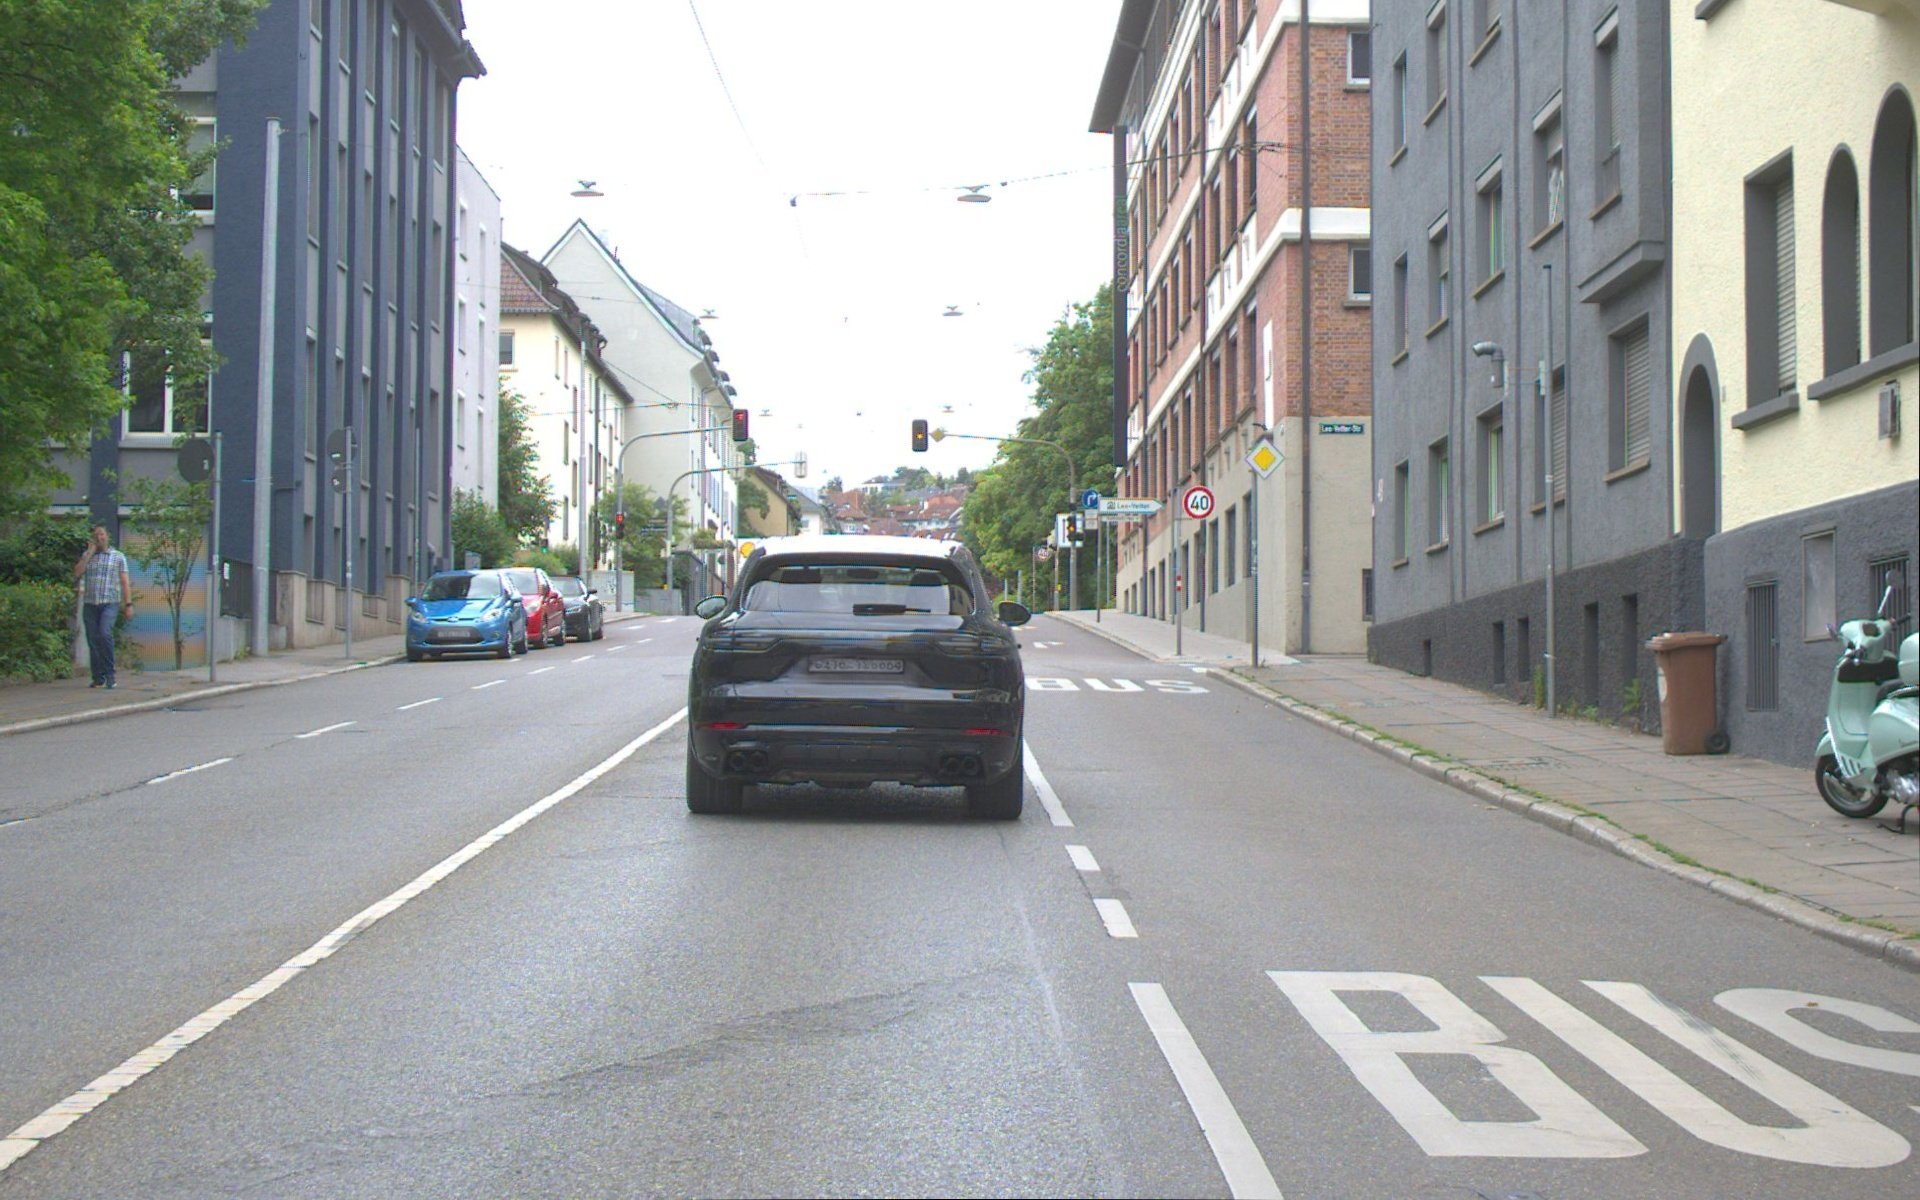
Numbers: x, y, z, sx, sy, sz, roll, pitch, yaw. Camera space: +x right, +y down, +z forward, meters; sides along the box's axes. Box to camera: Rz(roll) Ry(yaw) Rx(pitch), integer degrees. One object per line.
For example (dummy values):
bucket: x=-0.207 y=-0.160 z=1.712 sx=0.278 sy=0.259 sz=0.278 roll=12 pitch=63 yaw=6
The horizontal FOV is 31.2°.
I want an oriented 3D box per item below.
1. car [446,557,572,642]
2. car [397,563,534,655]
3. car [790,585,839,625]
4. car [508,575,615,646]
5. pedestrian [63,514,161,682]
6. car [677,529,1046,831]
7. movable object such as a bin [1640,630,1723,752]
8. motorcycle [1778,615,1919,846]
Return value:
car: x=-8.238 y=-0.030 z=63.064 sx=1.714 sy=1.451 sz=3.989 roll=-2 pitch=0 yaw=1
car: x=-8.189 y=0.124 z=57.187 sx=1.714 sy=1.419 sz=3.989 roll=-2 pitch=1 yaw=-1
car: x=-6.564 y=0.207 z=155.558 sx=1.897 sy=1.686 sz=4.000 roll=-2 pitch=0 yaw=1
car: x=-7.962 y=0.193 z=68.963 sx=1.714 sy=1.336 sz=3.904 roll=-2 pitch=0 yaw=-1
pedestrian: x=-10.130 y=-0.028 z=41.099 sx=0.882 sy=1.943 sz=0.867 roll=2 pitch=1 yaw=-1
car: x=-0.717 y=0.437 z=21.479 sx=2.023 sy=1.636 sz=4.356 roll=2 pitch=0 yaw=-4
movable object such as a bin: x=5.468 y=0.684 z=26.062 sx=0.474 sy=0.889 sz=0.517 roll=-3 pitch=0 yaw=-1
motorcycle: x=5.182 y=0.691 z=19.193 sx=0.537 sy=1.152 sz=2.227 roll=-3 pitch=1 yaw=-3
